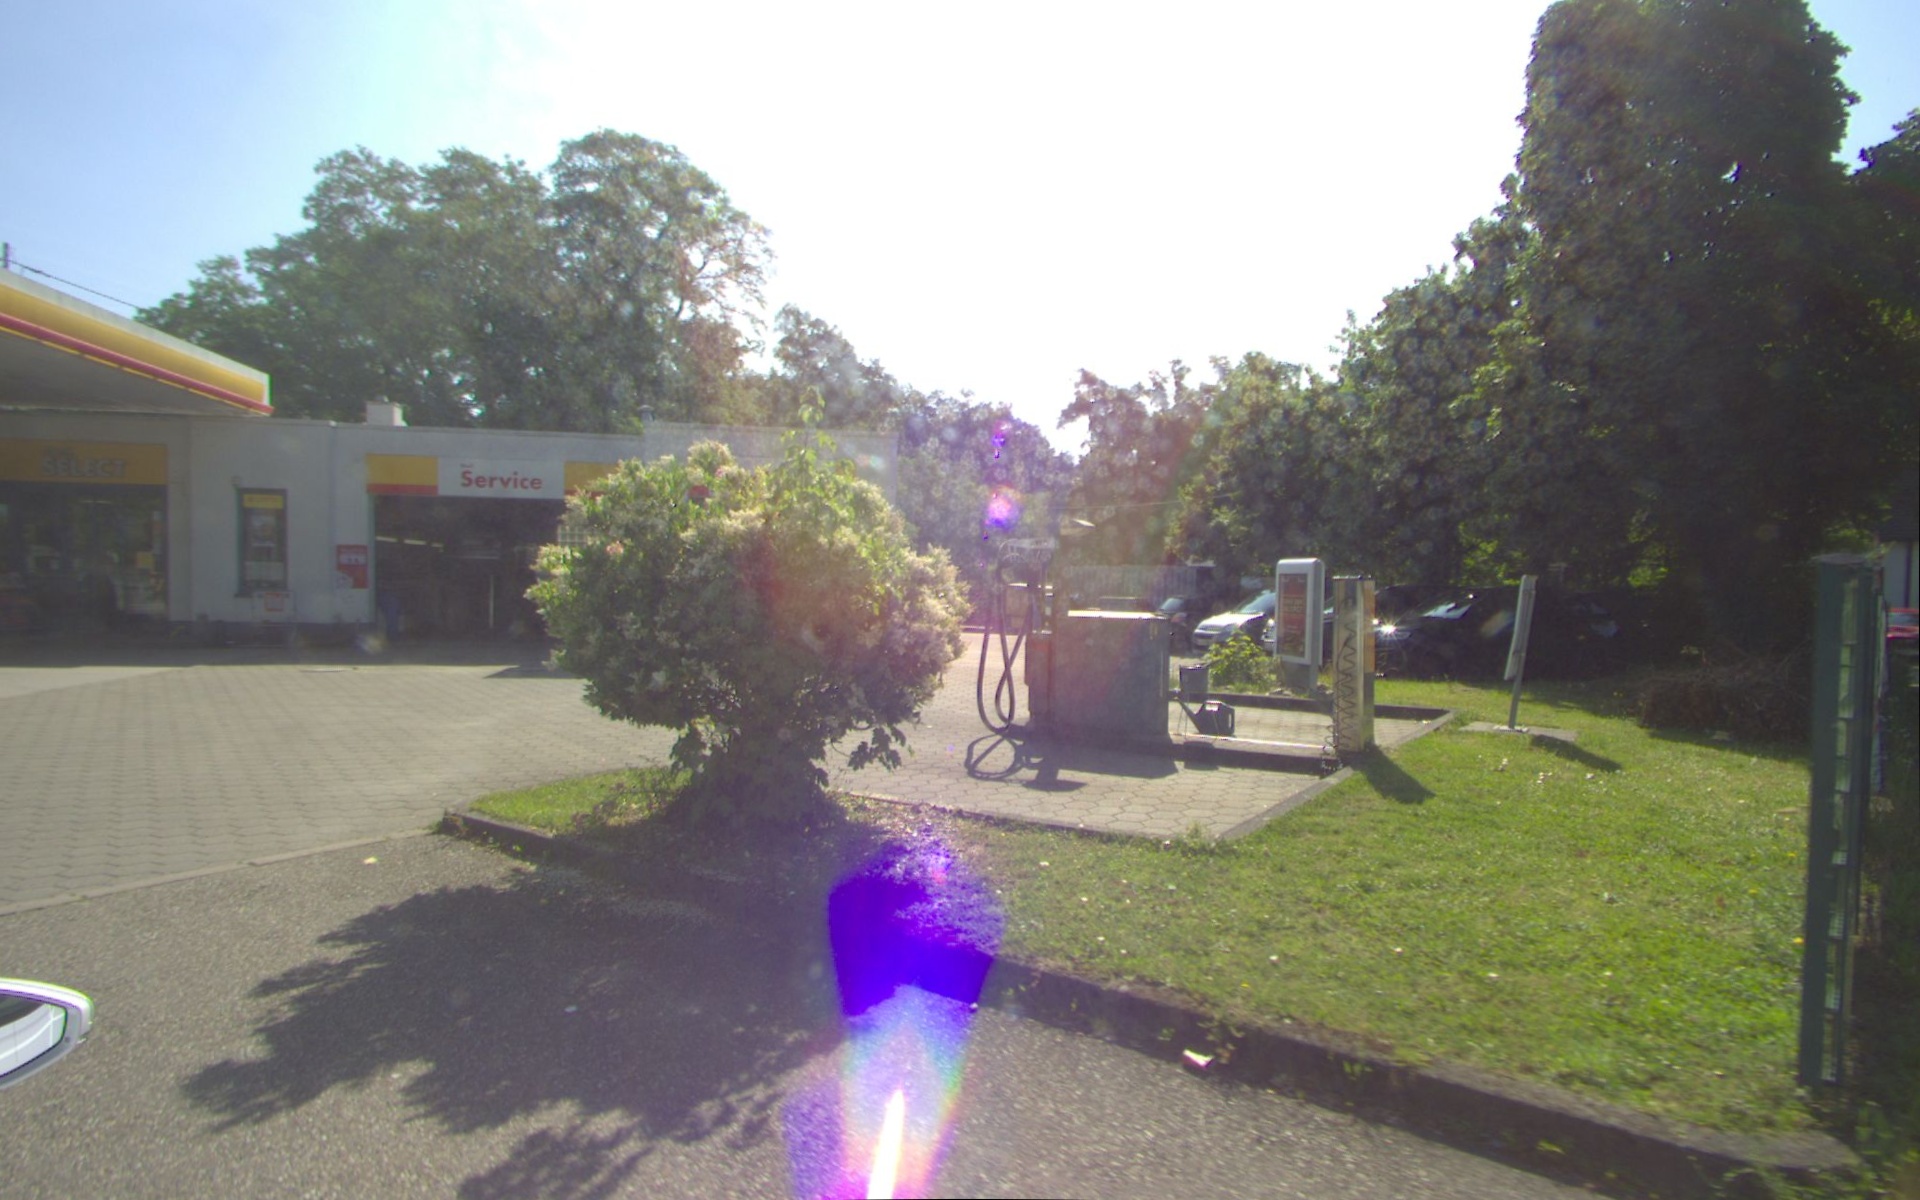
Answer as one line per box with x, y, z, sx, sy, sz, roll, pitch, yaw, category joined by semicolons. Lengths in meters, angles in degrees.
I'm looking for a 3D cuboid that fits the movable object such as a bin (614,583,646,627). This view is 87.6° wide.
-9.580;0.157;29.100;0.784;1.252;0.544;0;0;-8;movable object such as a bin

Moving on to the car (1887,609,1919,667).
26.389;1.005;27.184;3.950;1.484;1.612;0;2;-45;car

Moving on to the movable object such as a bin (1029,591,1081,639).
2.744;0.424;28.831;1.218;1.343;0.844;2;2;34;movable object such as a bin

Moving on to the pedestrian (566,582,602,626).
-10.707;0.124;28.531;0.850;1.213;0.742;0;0;-11;pedestrian

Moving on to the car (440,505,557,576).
-11.779;-1.465;25.838;1.620;1.505;3.999;0;-1;-8;car

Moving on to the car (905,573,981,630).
-0.556;0.076;29.680;1.694;1.596;3.390;0;-1;-11;car

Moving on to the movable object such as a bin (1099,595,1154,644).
4.568;0.523;27.479;1.221;1.307;0.859;2;2;43;movable object such as a bin

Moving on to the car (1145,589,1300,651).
6.704;0.503;25.788;3.444;1.458;1.681;1;3;-9;car

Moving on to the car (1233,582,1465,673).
7.461;0.527;19.358;3.867;1.650;1.682;1;1;-12;car

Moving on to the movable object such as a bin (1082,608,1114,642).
3.881;0.705;28.104;0.488;0.922;0.859;2;2;41;movable object such as a bin

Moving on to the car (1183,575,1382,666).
7.113;0.404;22.211;3.866;1.818;1.681;-2;2;-12;car

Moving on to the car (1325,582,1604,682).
8.253;0.508;16.492;3.867;1.532;1.681;1;1;-12;car
